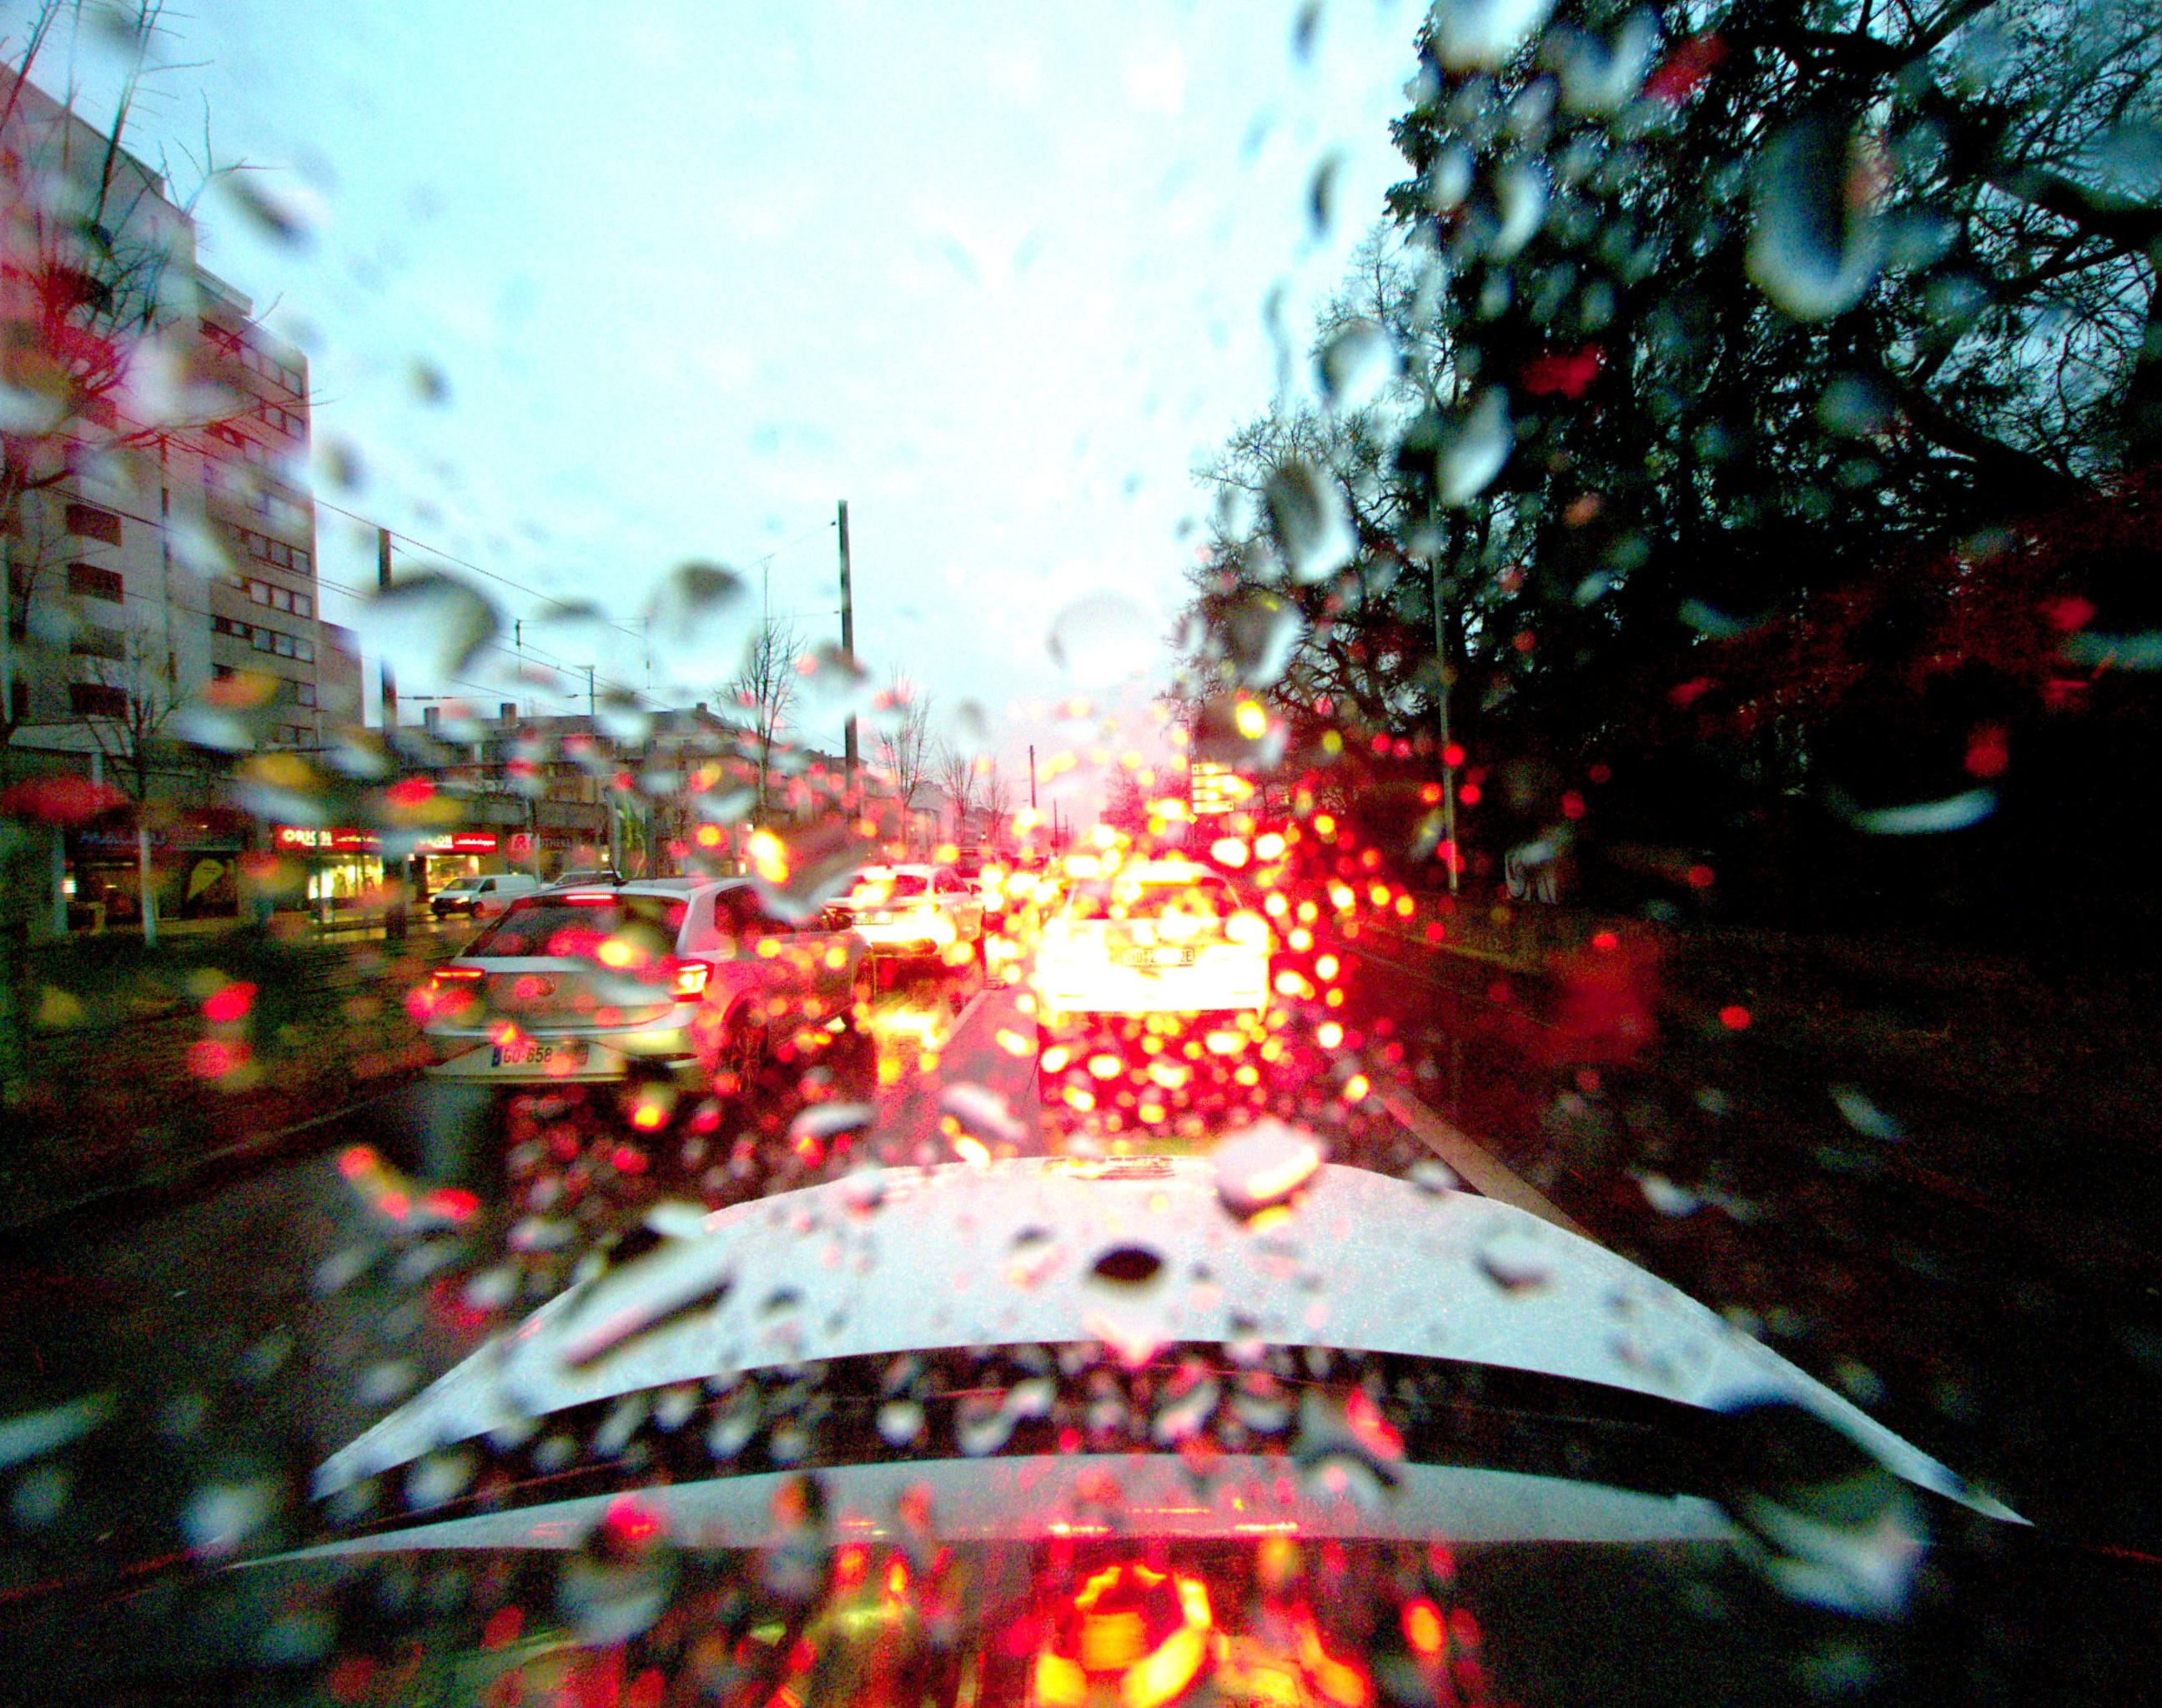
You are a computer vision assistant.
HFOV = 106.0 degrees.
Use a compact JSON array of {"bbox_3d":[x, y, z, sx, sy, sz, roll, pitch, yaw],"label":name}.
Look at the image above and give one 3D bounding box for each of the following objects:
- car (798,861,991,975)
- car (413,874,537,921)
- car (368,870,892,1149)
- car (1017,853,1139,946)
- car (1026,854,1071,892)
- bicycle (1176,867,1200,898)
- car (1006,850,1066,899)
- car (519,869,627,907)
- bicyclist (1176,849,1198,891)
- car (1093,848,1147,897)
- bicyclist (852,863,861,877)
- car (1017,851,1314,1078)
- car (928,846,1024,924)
[{"bbox_3d":[-2.622,0.826,12.615,1.840,1.405,4.614,-1,0,1],"label":"car"},{"bbox_3d":[-29.737,2.080,40.227,1.985,1.912,5.168,-3,0,3],"label":"car"},{"bbox_3d":[-2.833,0.857,6.273,1.756,1.371,3.981,-1,0,1],"label":"car"},{"bbox_3d":[0.024,0.731,15.225,1.928,1.457,4.165,-1,0,2],"label":"car"},{"bbox_3d":[-1.475,0.845,38.144,1.800,1.646,4.002,-1,0,2],"label":"car"},{"bbox_3d":[3.624,0.944,27.755,0.642,0.966,2.049,-2,0,4],"label":"bicycle"},{"bbox_3d":[-1.587,0.695,30.062,1.800,1.646,4.002,-1,0,2],"label":"car"},{"bbox_3d":[-30.730,2.022,49.347,5.193,1.912,1.975,-3,0,-44],"label":"car"},{"bbox_3d":[3.604,0.531,27.787,0.642,1.389,0.891,-2,0,4],"label":"bicyclist"},{"bbox_3d":[1.403,0.628,29.883,1.800,1.646,4.002,-1,0,2],"label":"car"},{"bbox_3d":[-24.612,1.749,89.296,0.794,1.579,0.631,-1,-1,-34],"label":"bicyclist"},{"bbox_3d":[0.643,0.755,7.654,1.992,1.508,4.165,-1,0,2],"label":"car"},{"bbox_3d":[-2.528,0.714,20.676,1.787,1.736,4.537,-1,0,0],"label":"car"}]
